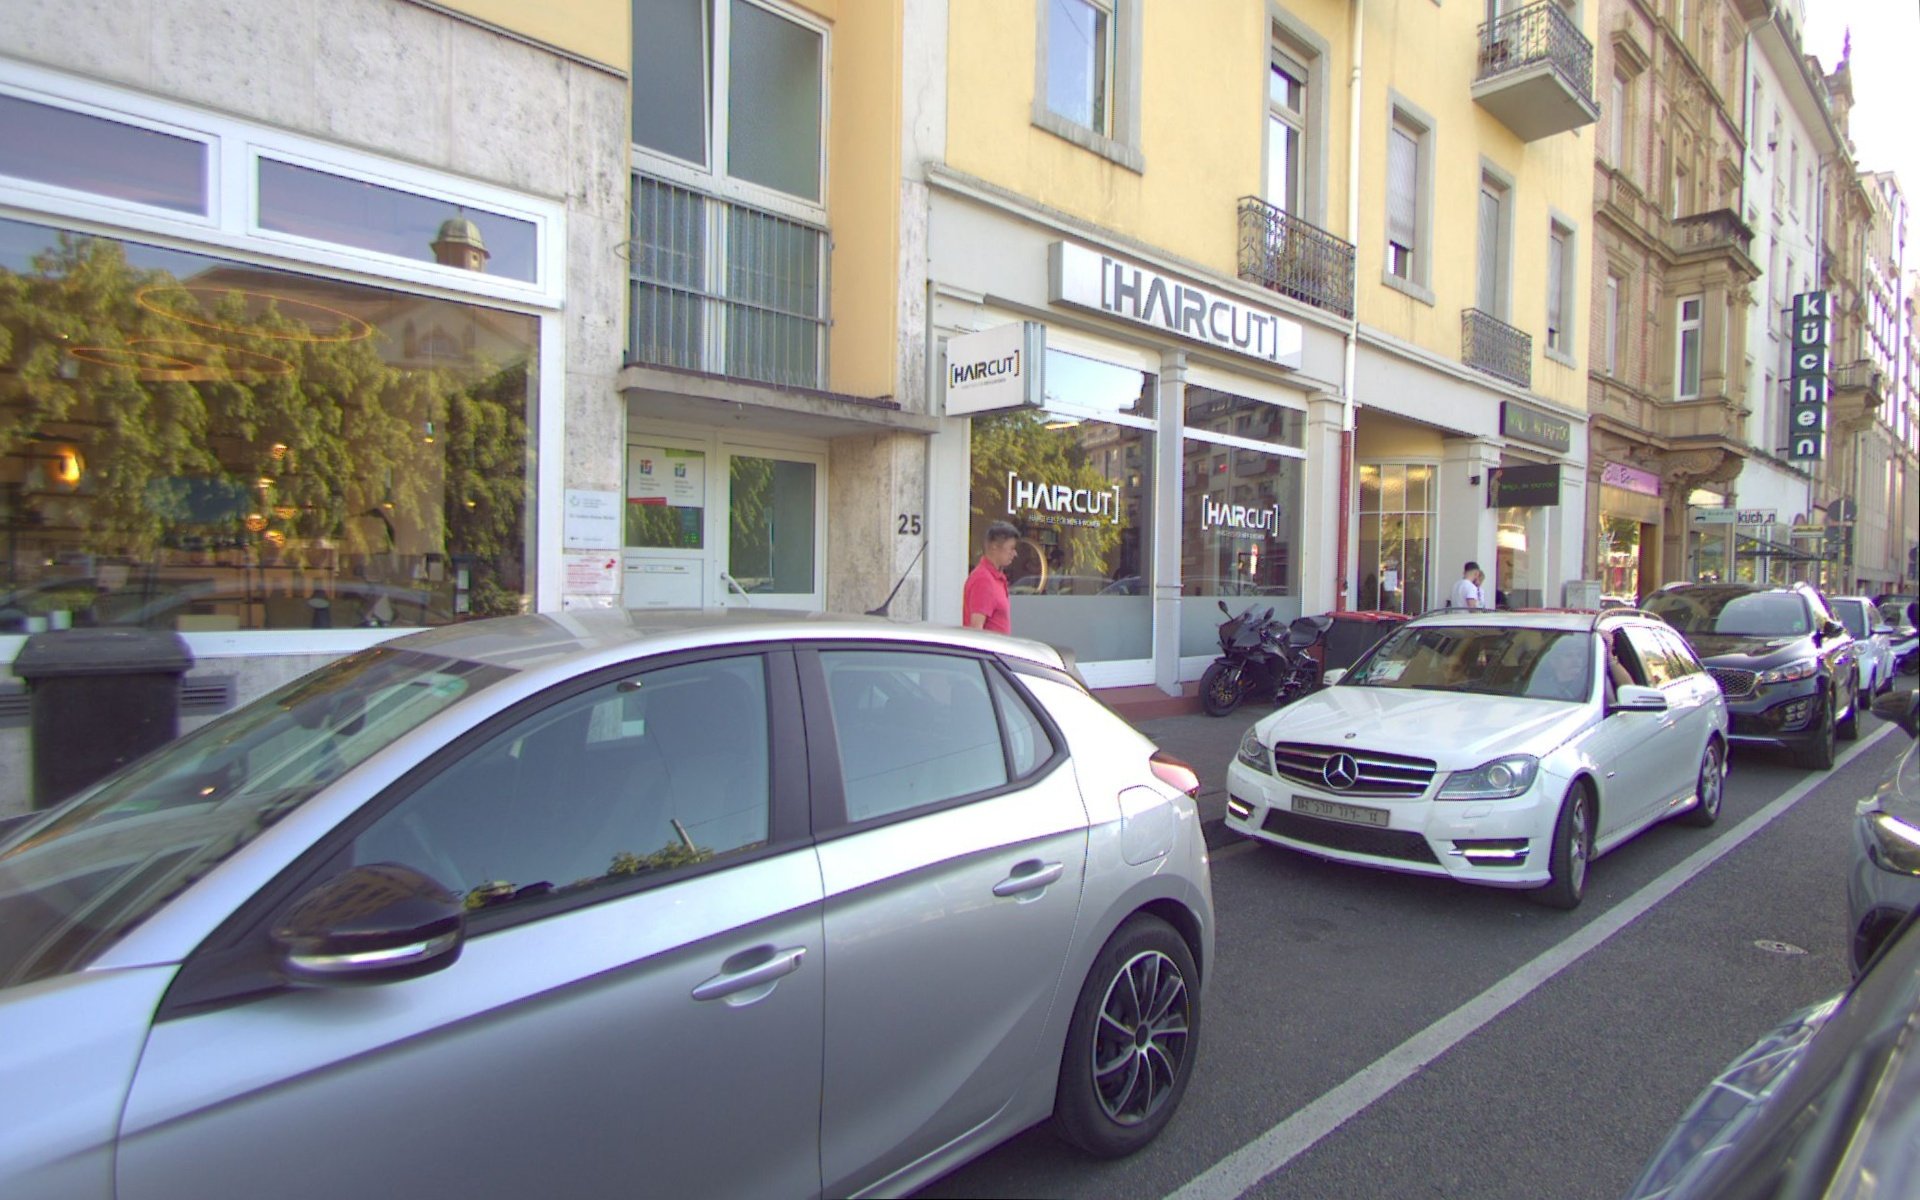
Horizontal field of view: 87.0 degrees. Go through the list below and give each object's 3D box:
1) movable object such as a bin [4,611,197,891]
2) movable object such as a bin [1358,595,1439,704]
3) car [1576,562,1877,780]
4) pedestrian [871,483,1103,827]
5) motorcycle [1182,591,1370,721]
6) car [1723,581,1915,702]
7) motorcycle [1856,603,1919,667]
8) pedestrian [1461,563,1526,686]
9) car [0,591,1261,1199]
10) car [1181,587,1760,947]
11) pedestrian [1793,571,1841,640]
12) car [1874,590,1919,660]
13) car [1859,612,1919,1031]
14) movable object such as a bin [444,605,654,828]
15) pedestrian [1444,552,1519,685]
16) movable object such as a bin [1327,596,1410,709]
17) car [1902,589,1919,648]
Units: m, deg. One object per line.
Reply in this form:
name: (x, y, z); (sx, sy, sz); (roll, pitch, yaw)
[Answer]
movable object such as a bin: (-3.699, 0.586, 4.383); (0.591, 1.041, 0.812); (0, 1, -40)
movable object such as a bin: (5.148, 0.563, 11.885); (0.633, 1.222, 0.647); (0, 0, -40)
car: (7.958, 0.532, 10.311); (1.853, 1.719, 4.623); (1, 1, 45)
pedestrian: (0.140, 0.264, 5.918); (0.989, 1.805, 0.868); (0, 3, -32)
motorcycle: (3.323, 0.520, 10.523); (2.208, 1.179, 0.773); (0, 4, -41)
car: (12.670, 0.530, 14.887); (2.965, 1.587, 1.695); (0, 1, -40)
motorcycle: (19.290, 0.706, 20.514); (1.514, 1.248, 0.771); (1, 0, 1)
pedestrian: (7.324, 0.318, 13.896); (0.631, 1.637, 0.572); (0, 0, -40)
car: (-1.030, 0.698, 2.315); (3.642, 1.415, 1.652); (0, 1, -42)
car: (3.461, 0.676, 6.376); (4.519, 1.480, 1.757); (0, 1, -42)
pedestrian: (20.970, 0.125, 24.772); (0.750, 1.637, 0.794); (0, 1, -43)
car: (22.234, 0.544, 23.033); (3.931, 1.504, 1.713); (0, 1, -42)
car: (5.318, 0.766, 4.281); (4.183, 1.396, 1.846); (0, 1, -42)
movable object such as a bin: (-2.251, 0.577, 5.541); (0.878, 1.066, 0.752); (0, 1, -40)
pedestrian: (6.674, 0.218, 12.961); (0.689, 1.637, 0.641); (0, 0, -42)
movable object such as a bin: (4.638, 0.569, 11.496); (0.633, 1.222, 0.647); (0, 0, -40)
car: (26.402, 0.480, 26.857); (3.931, 1.504, 1.713); (0, 1, -42)
